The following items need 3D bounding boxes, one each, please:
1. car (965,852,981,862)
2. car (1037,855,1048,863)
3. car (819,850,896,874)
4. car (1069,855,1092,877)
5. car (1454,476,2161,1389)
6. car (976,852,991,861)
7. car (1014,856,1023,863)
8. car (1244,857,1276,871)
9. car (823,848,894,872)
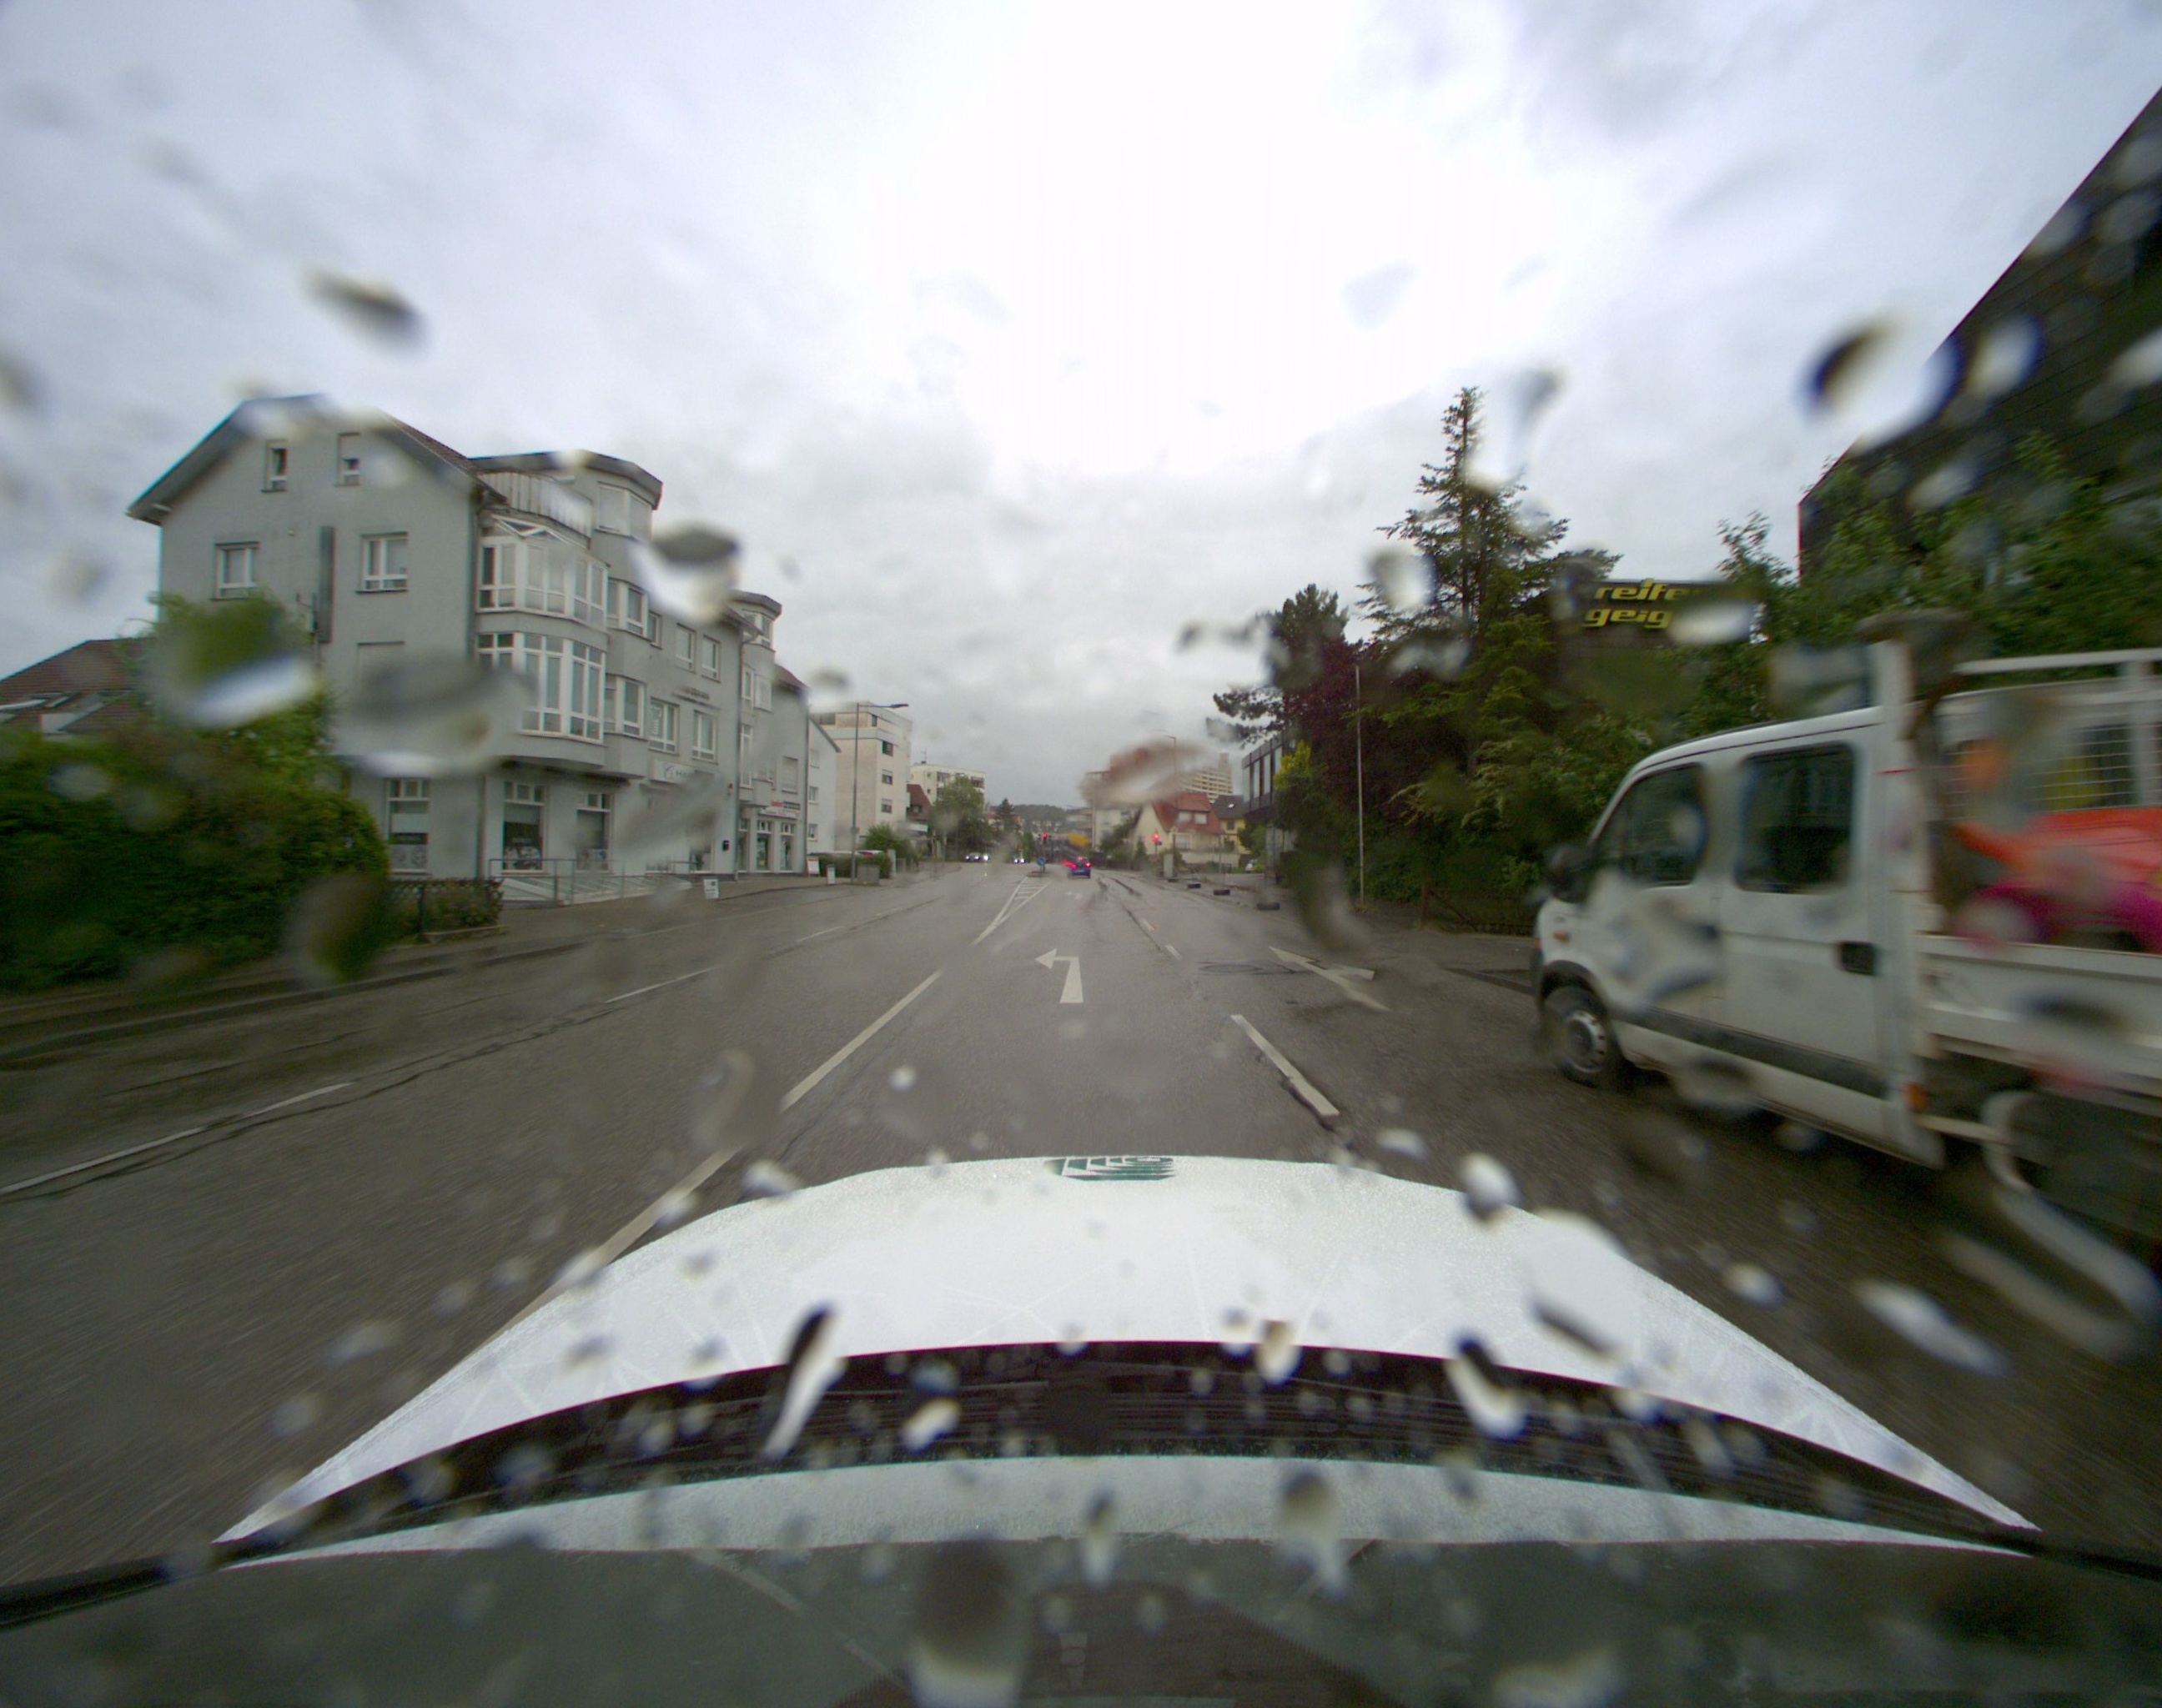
[{"bbox_3d":[-15.152,0.398,114.736,1.773,1.420,3.830,1,0,0],"label":"car"},{"bbox_3d":[-7.071,0.979,150.092,1.807,1.486,4.189,0,0,1],"label":"car"},{"bbox_3d":[-13.980,0.484,51.087,4.199,1.474,1.907,1,0,5],"label":"car"},{"bbox_3d":[-0.023,0.810,56.976,1.573,1.411,3.270,1,0,0],"label":"car"},{"bbox_3d":[4.064,0.203,3.011,2.384,2.432,6.431,-1,0,0],"label":"car"},{"bbox_3d":[-14.558,0.391,121.864,1.710,1.387,4.019,1,0,0],"label":"car"},{"bbox_3d":[-13.895,1.178,182.138,1.773,1.420,3.830,1,0,0],"label":"car"},{"bbox_3d":[19.037,1.068,86.548,1.723,1.514,4.025,1,0,37],"label":"car"},{"bbox_3d":[-15.982,0.439,58.606,4.423,1.637,1.944,1,0,9],"label":"car"}]
